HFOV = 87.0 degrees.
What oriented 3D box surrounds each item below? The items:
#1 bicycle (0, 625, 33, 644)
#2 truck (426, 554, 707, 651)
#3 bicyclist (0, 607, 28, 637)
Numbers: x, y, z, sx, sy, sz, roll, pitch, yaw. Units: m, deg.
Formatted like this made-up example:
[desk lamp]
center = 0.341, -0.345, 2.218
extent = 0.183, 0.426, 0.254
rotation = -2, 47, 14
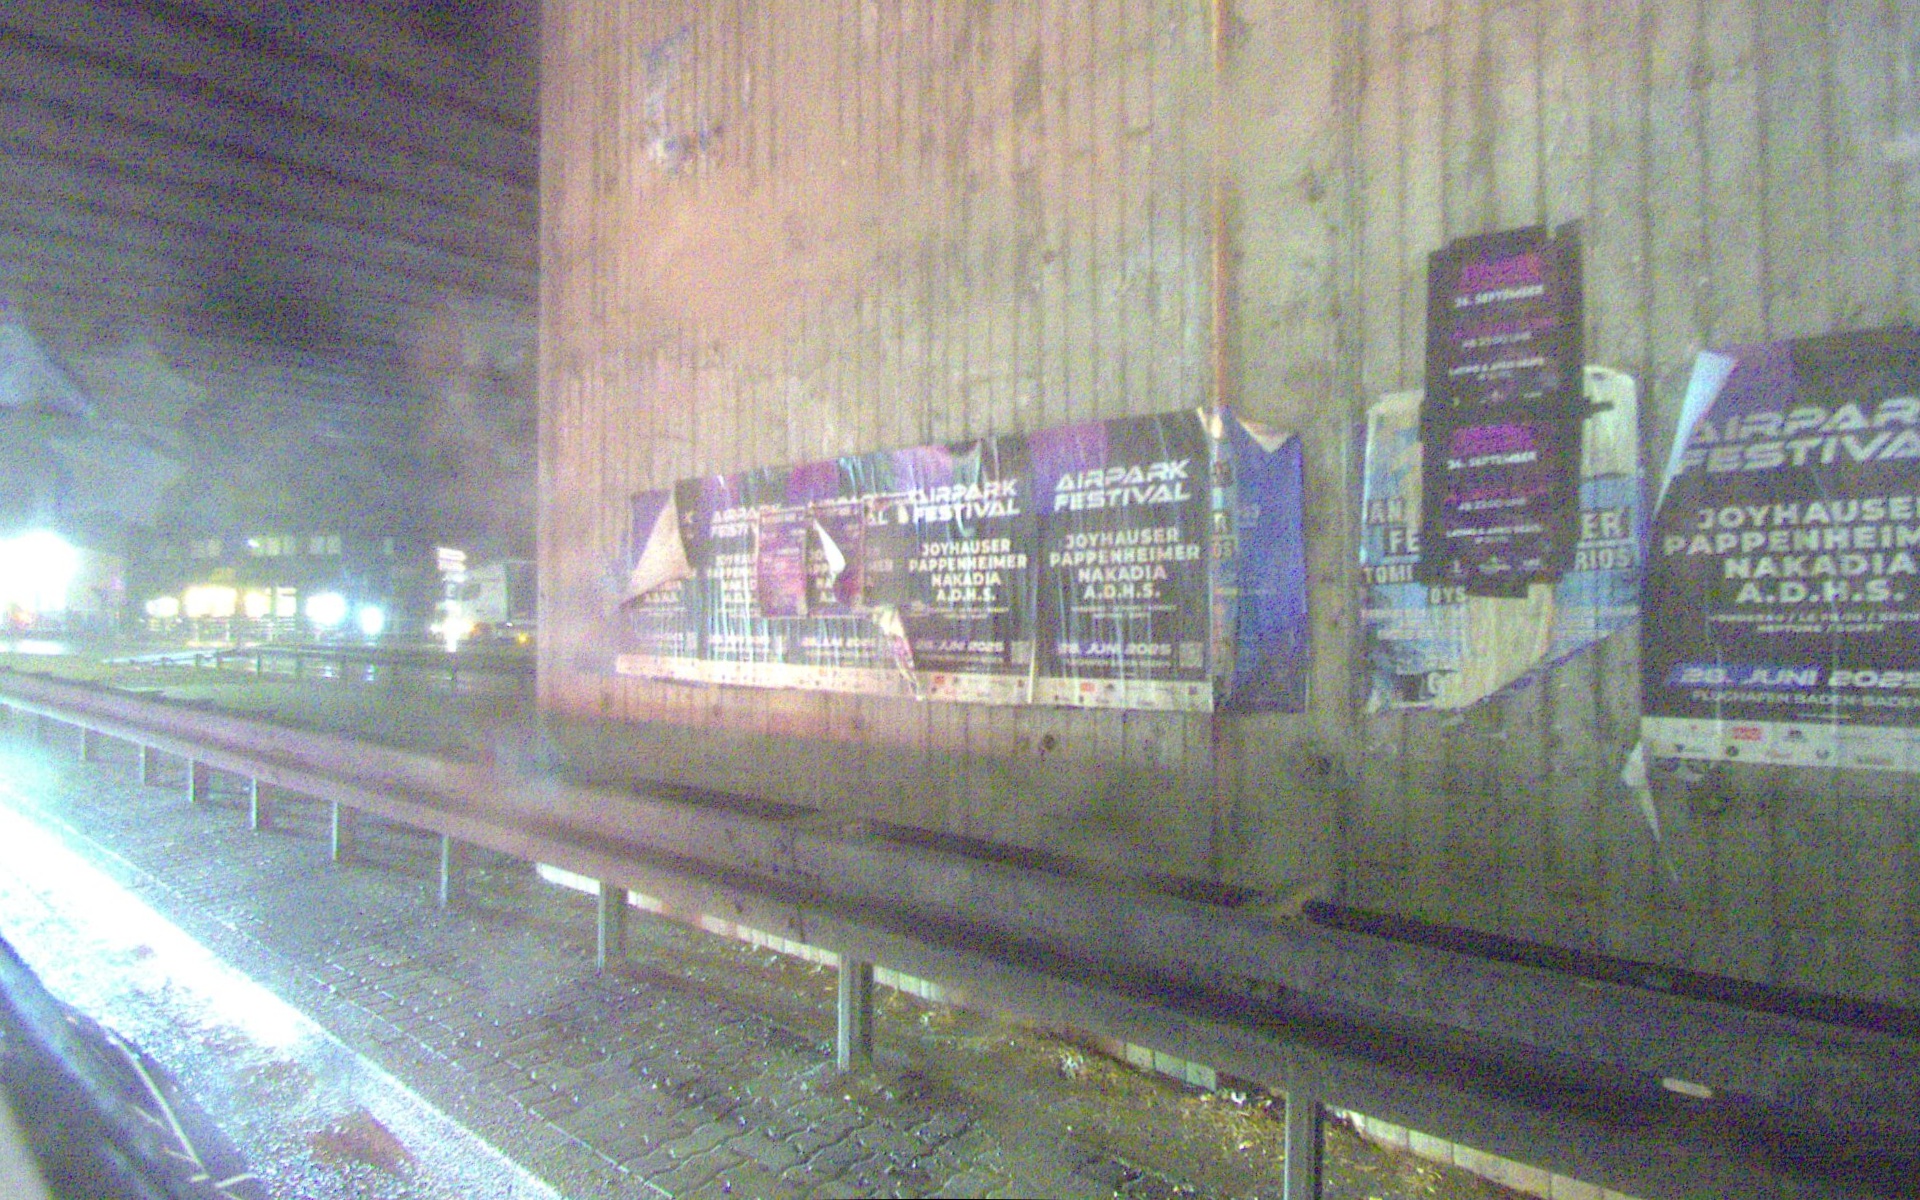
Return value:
[bicycle]
center = -46.087, 1.672, 49.311
extent = 2.202, 0.912, 0.623
rotation = 0, -2, 27
[truck]
center = -19.860, 0.149, 52.301
extent = 13.480, 4.474, 2.746
rotation = 0, -1, -43
[bicyclist]
center = -46.155, 1.089, 49.360
extent = 1.182, 1.446, 0.624
rotation = 0, -2, 27
